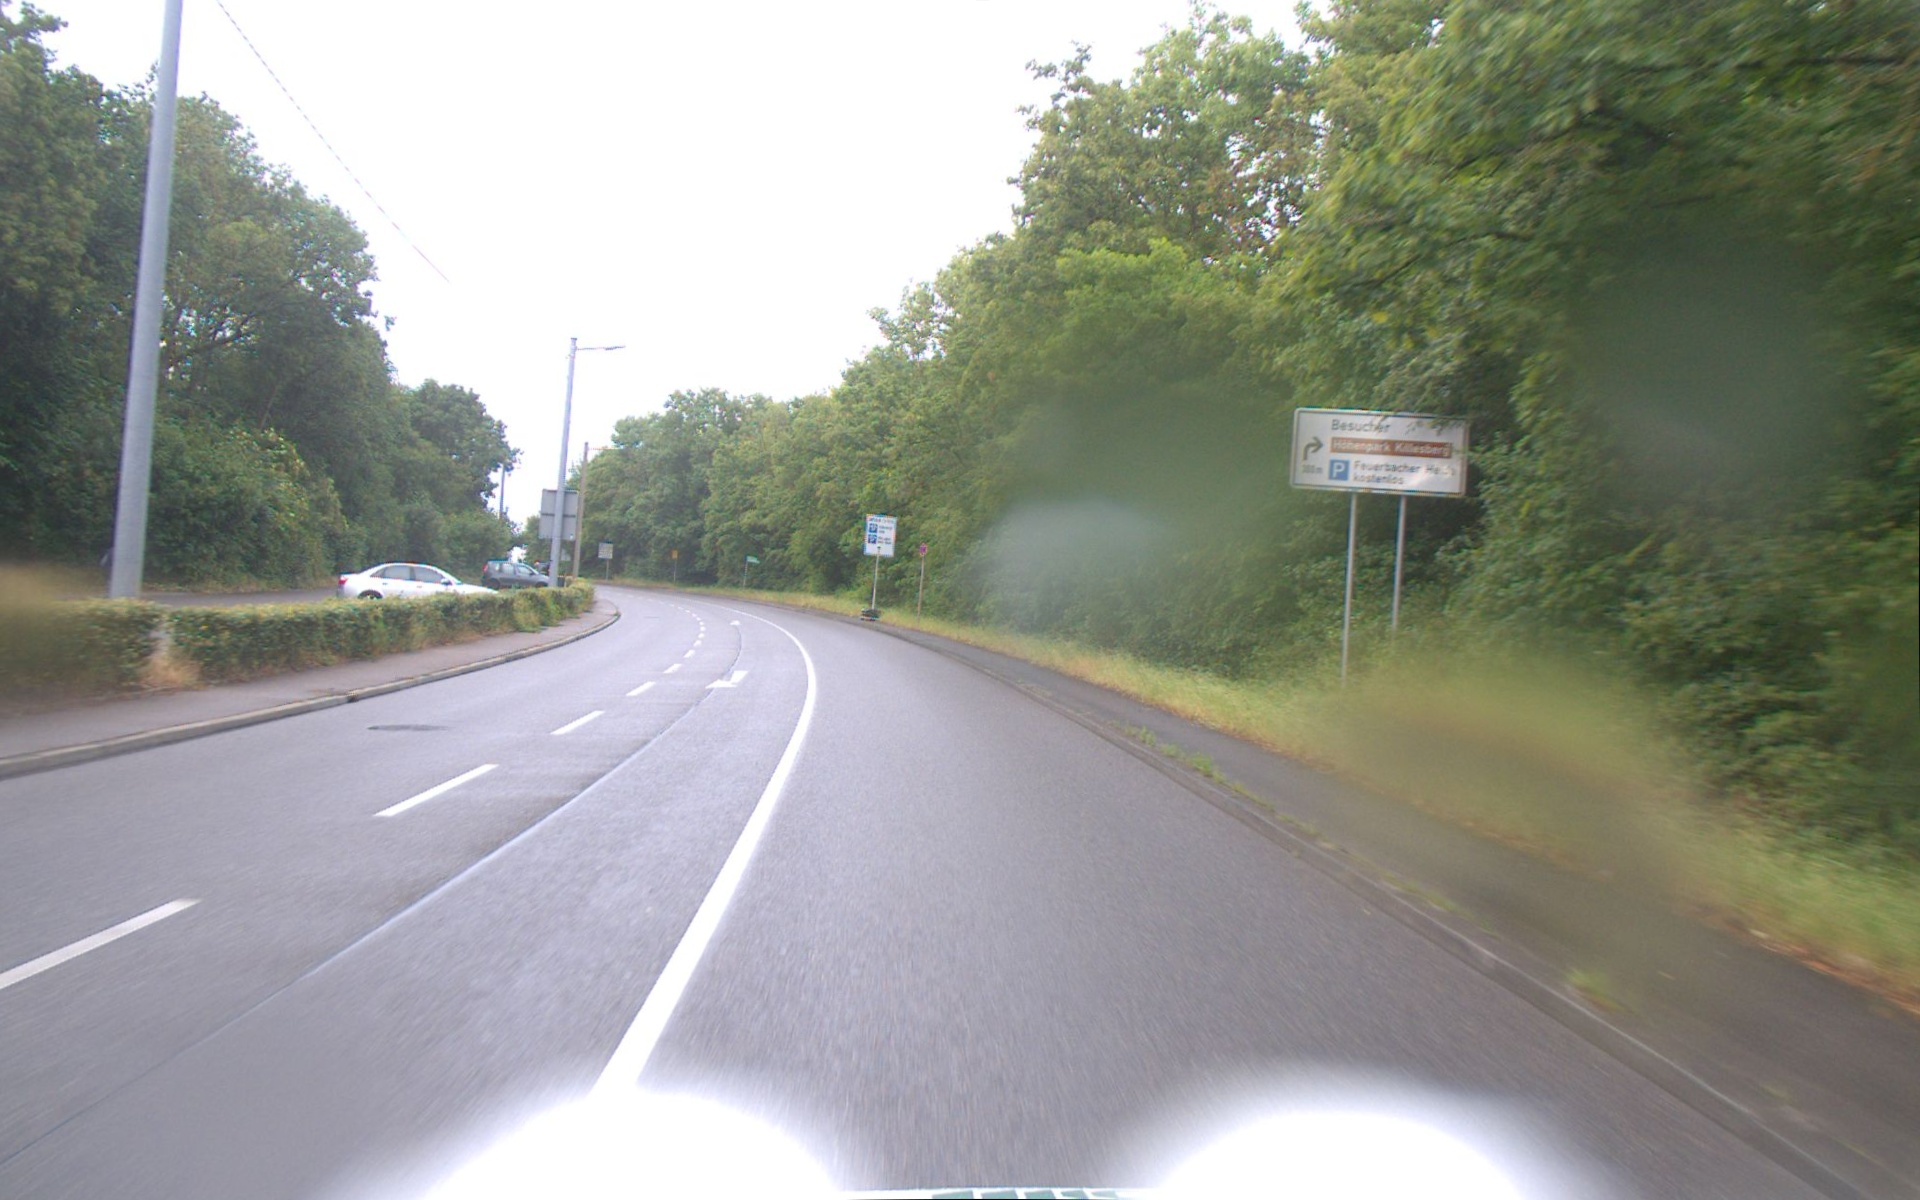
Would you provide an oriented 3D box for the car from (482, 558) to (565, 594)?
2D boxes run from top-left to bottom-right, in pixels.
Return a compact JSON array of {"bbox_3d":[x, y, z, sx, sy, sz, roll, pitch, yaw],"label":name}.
[{"bbox_3d":[-24.048,-1.323,91.292,4.214,1.738,1.995,3,0,-11],"label":"car"}]

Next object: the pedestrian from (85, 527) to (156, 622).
[{"bbox_3d":[-16.651,-0.506,32.838,0.801,1.829,1.135,2,0,-3],"label":"pedestrian"}]

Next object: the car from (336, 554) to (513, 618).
[{"bbox_3d":[-14.809,-0.399,45.994,4.498,1.532,1.993,3,0,-14],"label":"car"}]

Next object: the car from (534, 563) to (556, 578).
[{"bbox_3d":[-44.829,-3.217,178.442,1.906,1.524,4.294,2,1,-19],"label":"car"}]
